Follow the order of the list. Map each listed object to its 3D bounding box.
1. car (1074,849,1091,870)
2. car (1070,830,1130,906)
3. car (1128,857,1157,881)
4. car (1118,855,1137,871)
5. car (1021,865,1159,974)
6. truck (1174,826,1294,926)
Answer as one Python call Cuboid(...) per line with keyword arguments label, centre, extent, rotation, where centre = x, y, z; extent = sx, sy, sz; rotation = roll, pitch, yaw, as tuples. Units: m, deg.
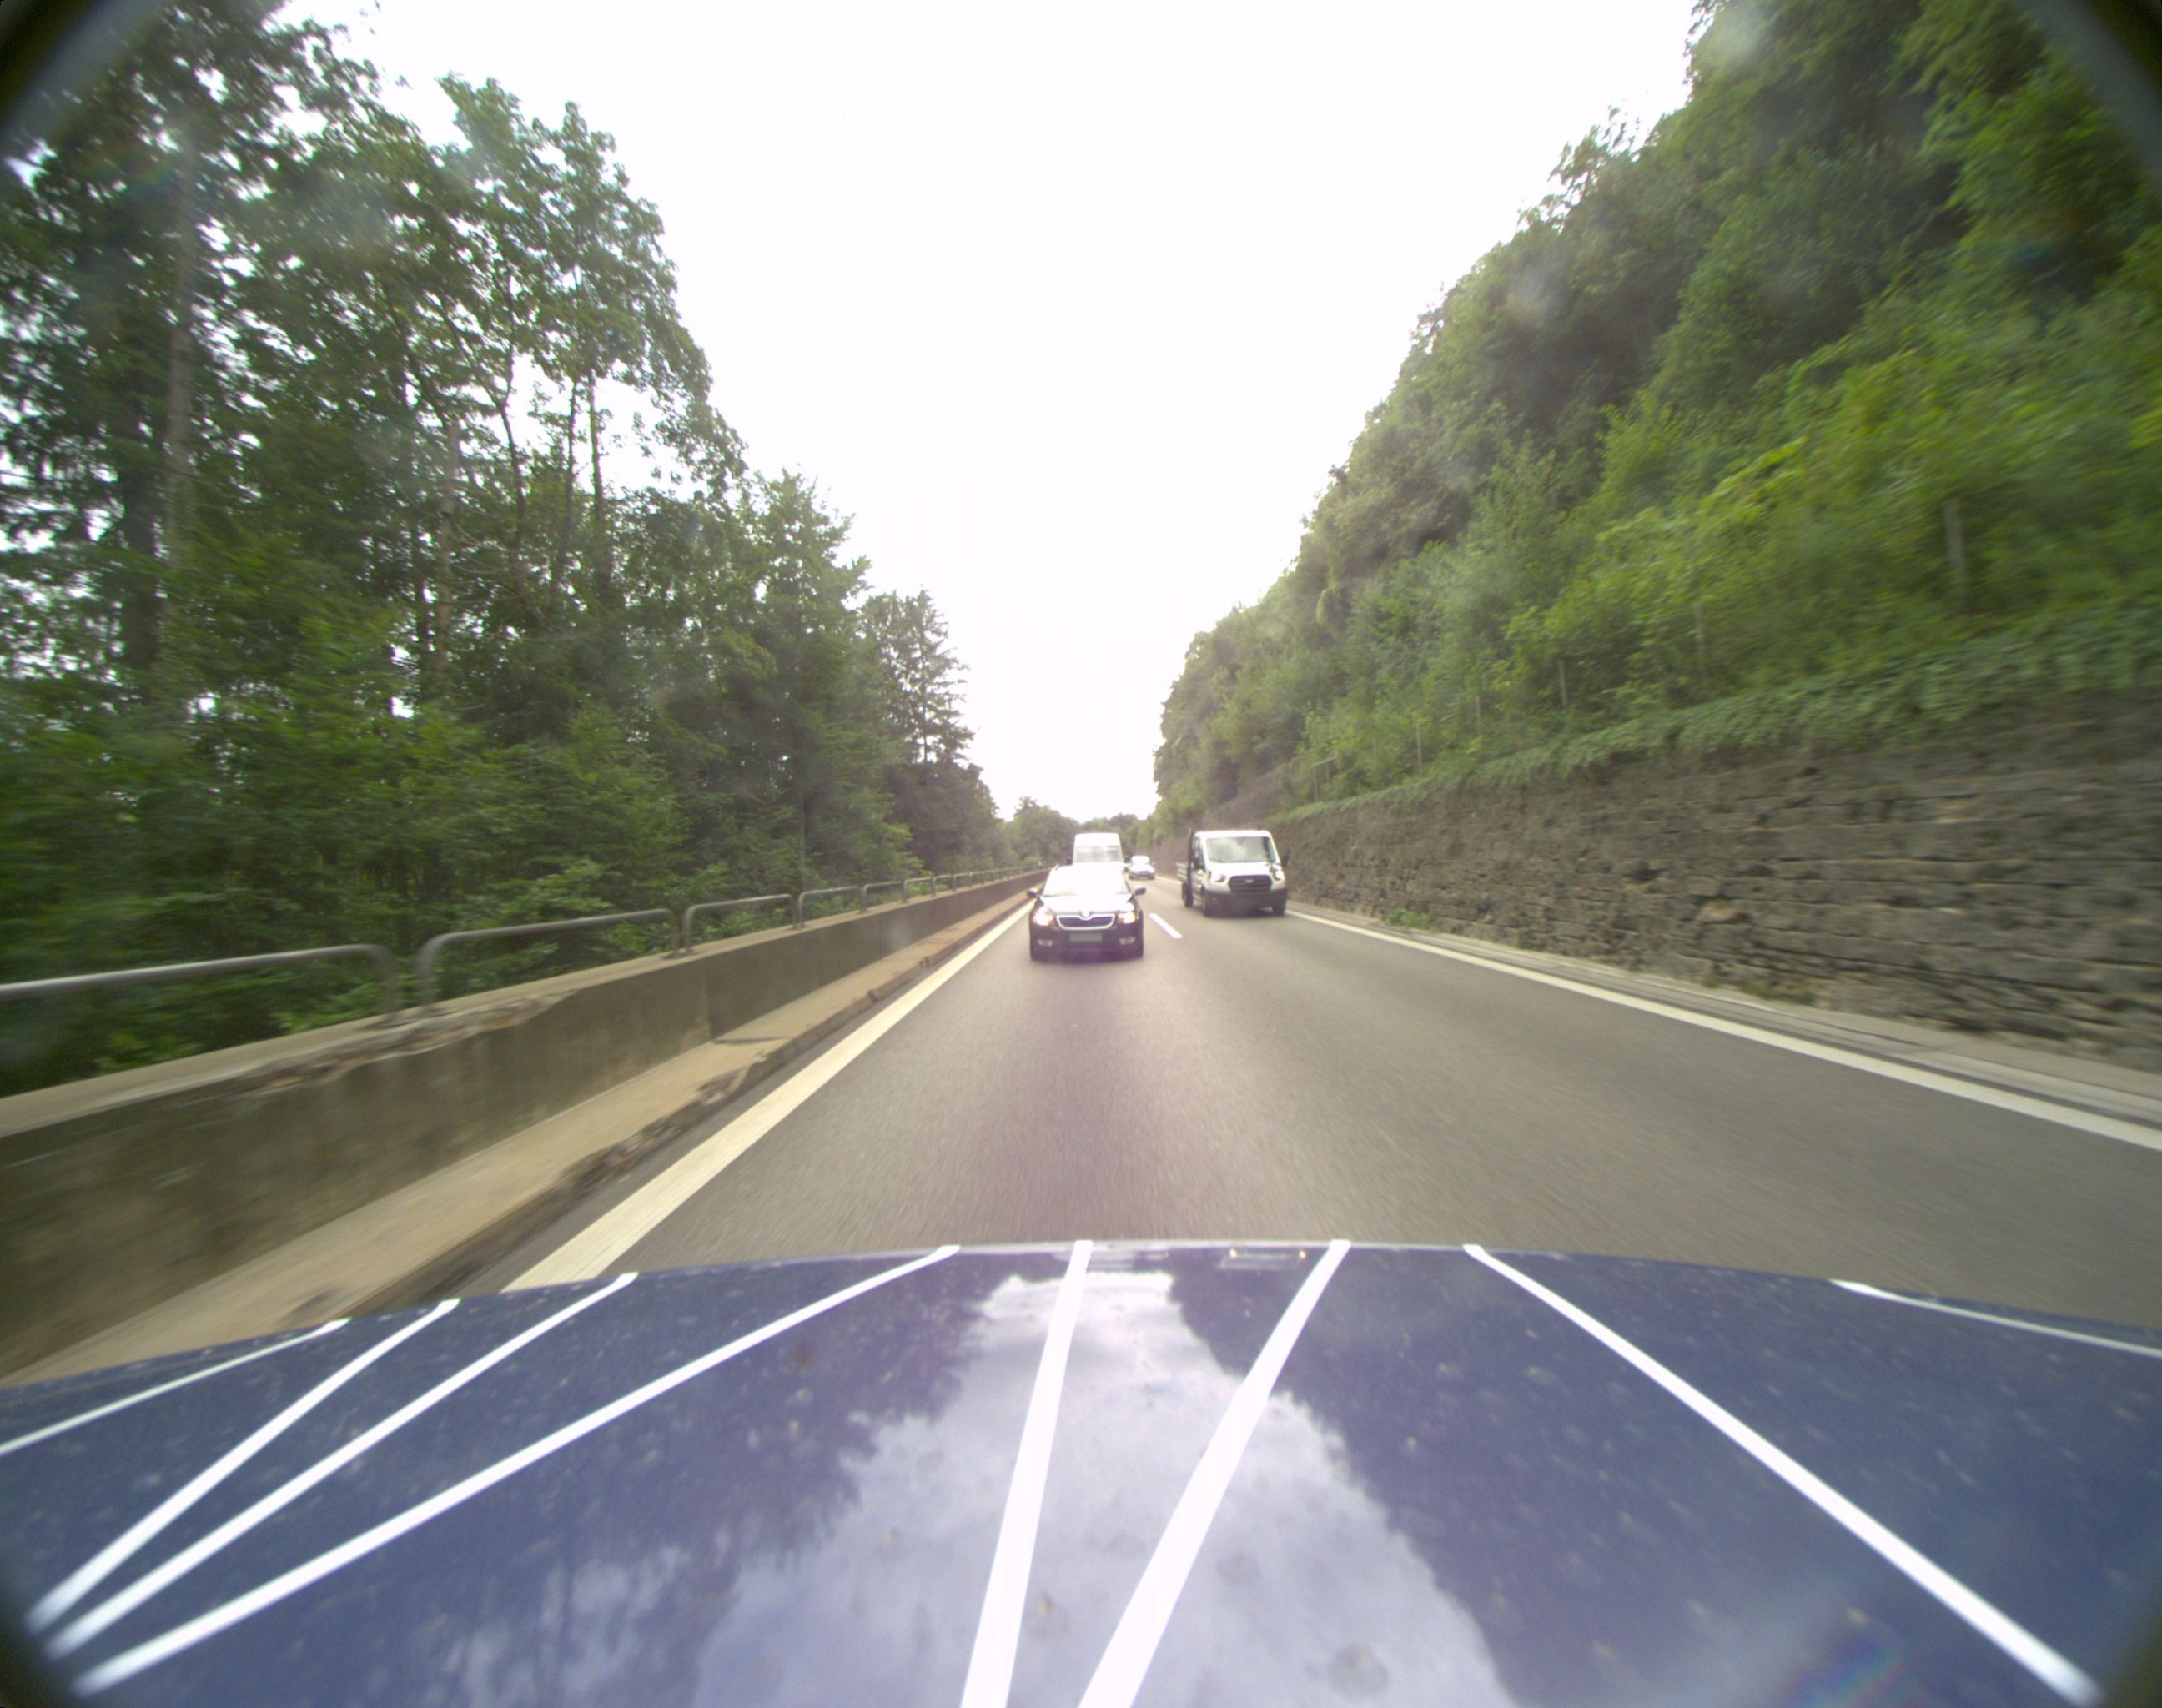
Cuboid(label="car", centre=(0.215, 0.666, 91.965), extent=(1.998, 2.396, 4.000), rotation=(-2, 0, 1))
Cuboid(label="car", centre=(0.783, 0.456, 28.682), extent=(1.998, 2.550, 5.919), rotation=(-1, 1, 3))
Cuboid(label="car", centre=(4.358, 1.015, 54.126), extent=(1.711, 1.568, 4.602), rotation=(-2, 0, 1))
Cuboid(label="car", centre=(5.033, 0.966, 82.850), extent=(1.711, 1.568, 4.602), rotation=(-2, 0, 1))
Cuboid(label="car", centre=(0.083, 0.991, 13.786), extent=(1.913, 1.391, 5.696), rotation=(-3, 0, -1))
Cuboid(label="truck", centre=(3.997, 0.517, 21.150), extent=(1.998, 2.266, 6.586), rotation=(-2, 0, 0))
